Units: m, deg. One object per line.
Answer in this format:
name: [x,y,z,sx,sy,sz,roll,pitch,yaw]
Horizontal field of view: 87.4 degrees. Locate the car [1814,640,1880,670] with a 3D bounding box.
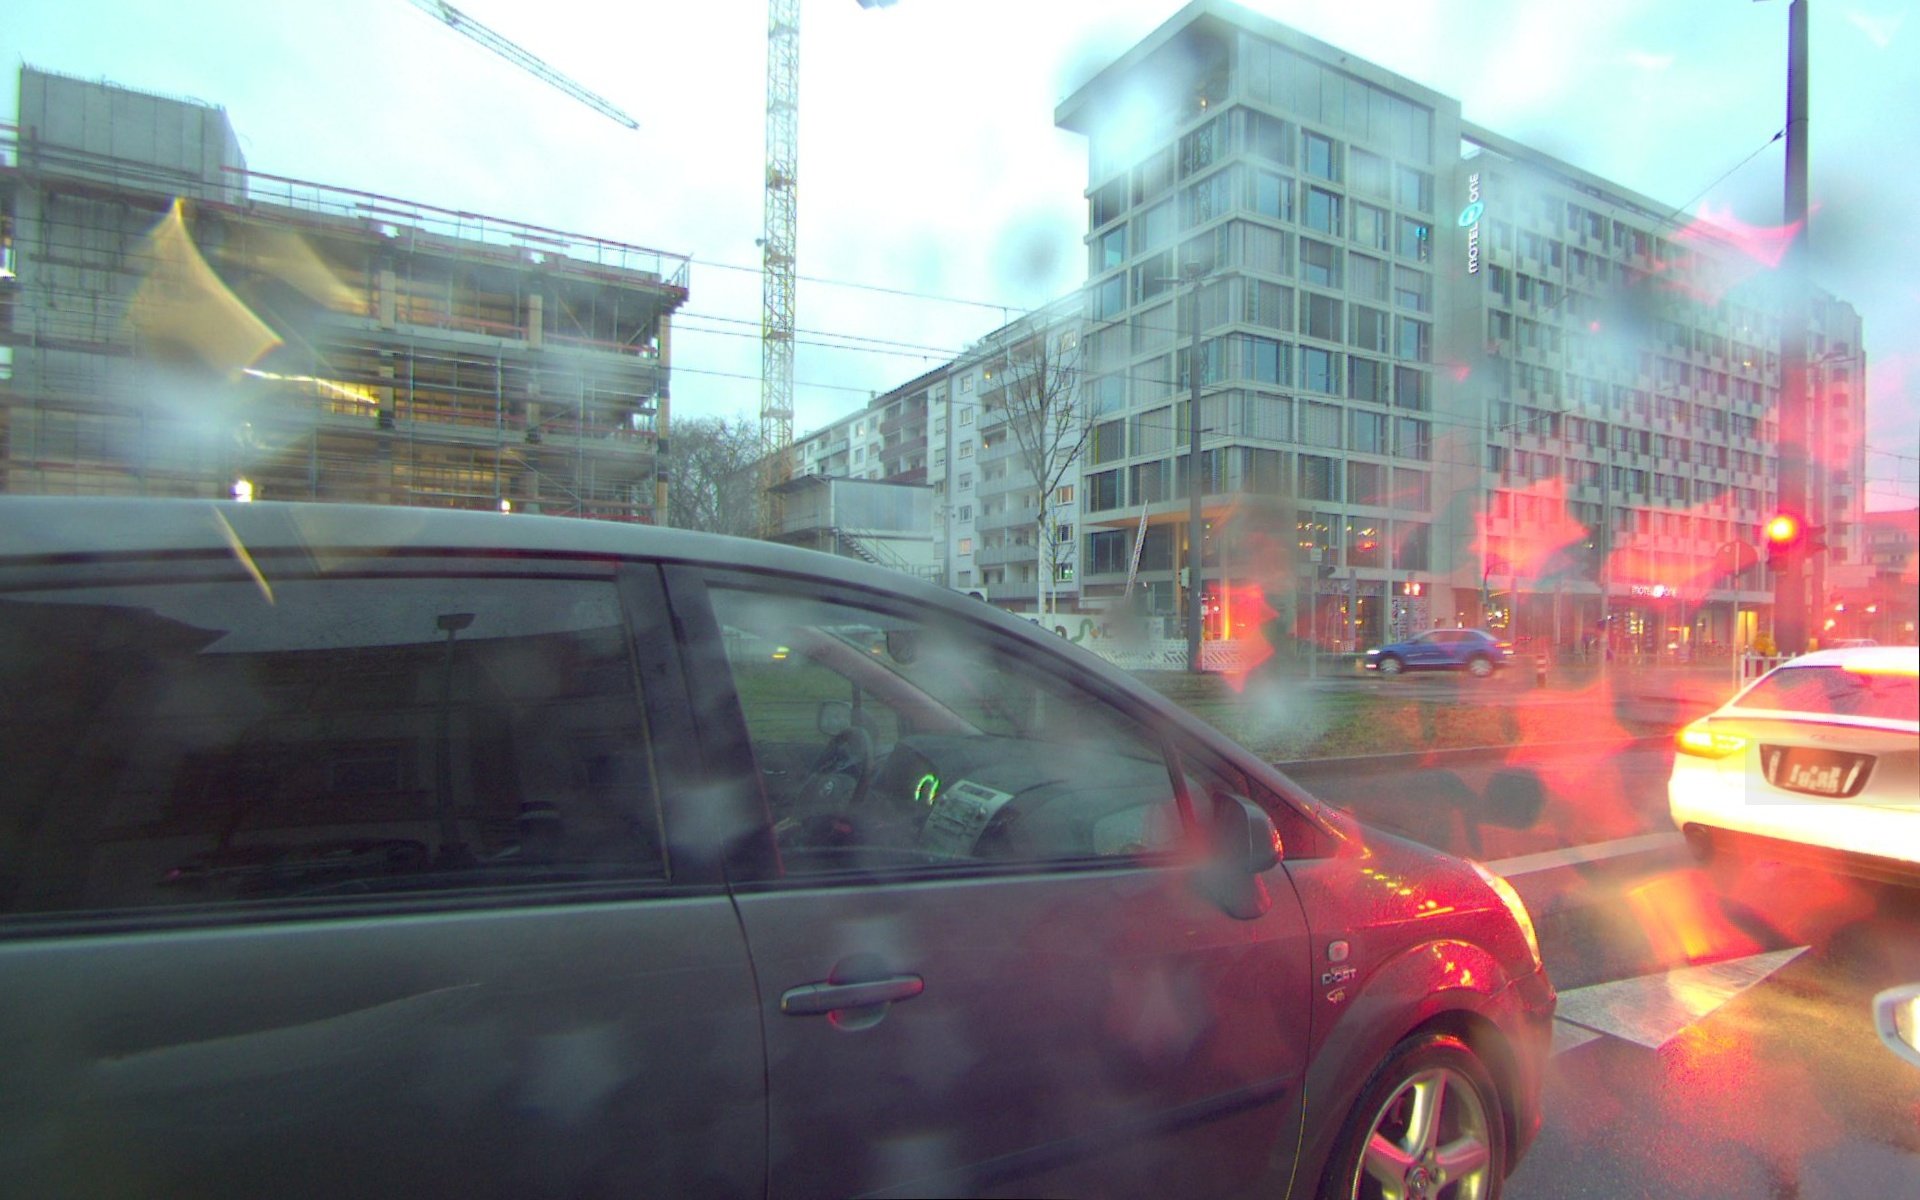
car: [49.136,3.069,55.647,3.654,1.527,1.666,3,0,-31]

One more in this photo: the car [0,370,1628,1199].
car: [-0.568,0.648,2.136,4.089,1.668,1.801,1,0,-32]

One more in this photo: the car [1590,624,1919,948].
car: [6.058,0.925,6.230,4.320,1.475,1.983,1,0,-32]

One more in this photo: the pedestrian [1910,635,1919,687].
pedestrian: [32.797,2.093,34.047,0.808,1.734,0.782,2,0,-45]

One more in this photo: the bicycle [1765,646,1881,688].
bicycle: [26.841,2.055,31.287,0.809,1.103,2.643,2,0,-41]

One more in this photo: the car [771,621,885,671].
car: [-4.476,1.533,33.879,3.636,1.497,1.624,2,0,-13]

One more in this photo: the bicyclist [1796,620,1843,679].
bicyclist: [26.814,1.536,31.350,0.807,1.782,0.963,2,0,-41]

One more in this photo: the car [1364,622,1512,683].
car: [14.964,1.596,31.521,3.933,1.644,1.714,2,0,34]
